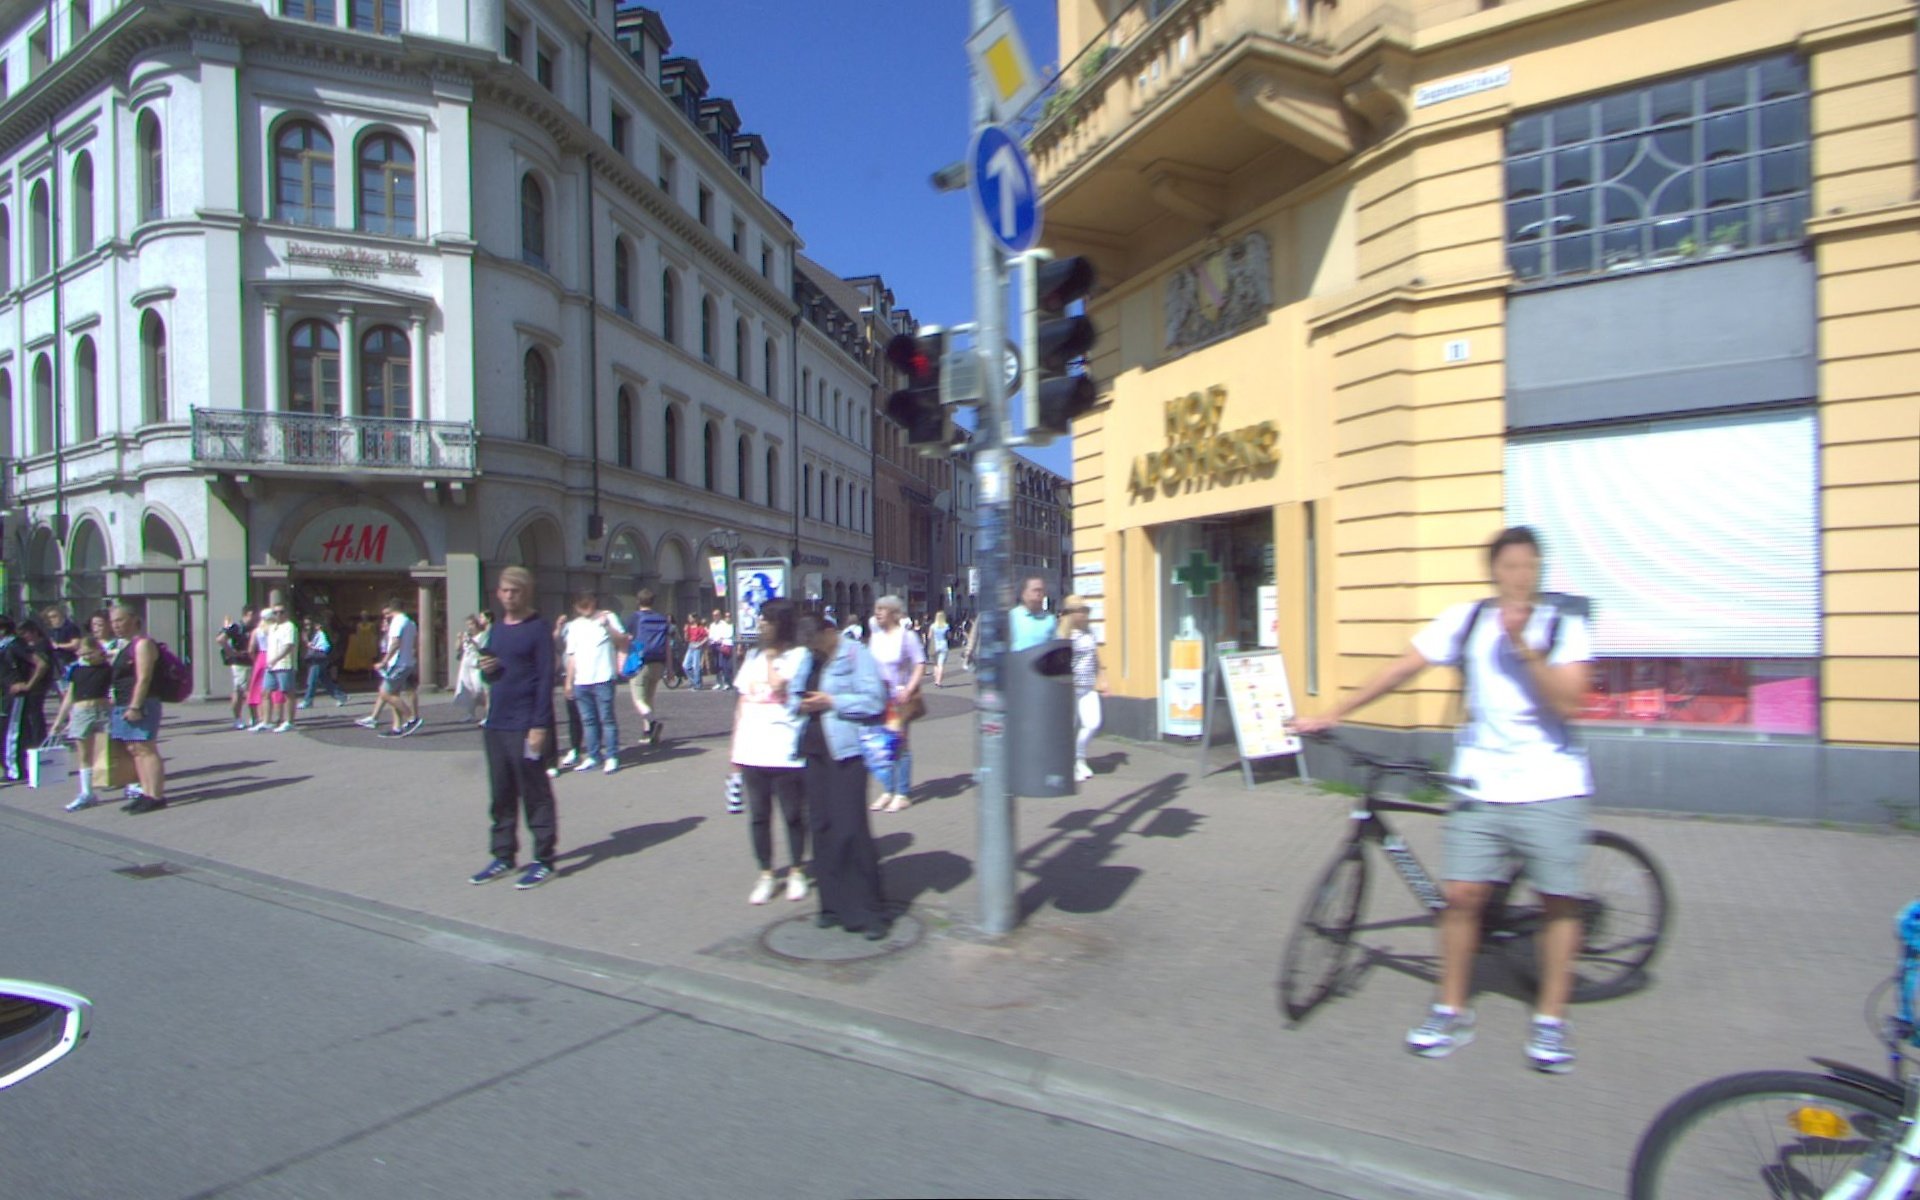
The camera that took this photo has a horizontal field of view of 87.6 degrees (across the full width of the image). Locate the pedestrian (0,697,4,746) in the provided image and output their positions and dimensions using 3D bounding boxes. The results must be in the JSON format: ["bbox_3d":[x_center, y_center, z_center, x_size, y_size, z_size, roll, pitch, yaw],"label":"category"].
[{"bbox_3d":[-12.791,1.053,12.805,0.596,1.696,0.581,-1,3,30],"label":"pedestrian"}]

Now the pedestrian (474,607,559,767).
[{"bbox_3d":[-4.699,0.901,10.616,0.632,1.630,0.521,-1,1,32],"label":"pedestrian"}]

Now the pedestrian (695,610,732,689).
[{"bbox_3d":[-5.552,1.111,22.566,0.664,1.738,0.542,0,-1,2],"label":"pedestrian"}]

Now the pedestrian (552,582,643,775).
[{"bbox_3d":[-3.612,0.761,9.988,0.632,1.848,0.521,-1,1,32],"label":"pedestrian"}]

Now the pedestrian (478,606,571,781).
[{"bbox_3d":[-4.234,0.883,9.746,0.632,1.633,0.521,-1,1,32],"label":"pedestrian"}]

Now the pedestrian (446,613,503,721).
[{"bbox_3d":[-7.635,1.036,15.749,0.668,1.654,0.539,-1,-1,30],"label":"pedestrian"}]

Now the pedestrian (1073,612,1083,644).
[{"bbox_3d":[7.190,1.711,60.911,0.557,1.893,0.659,-1,0,9],"label":"pedestrian"}]

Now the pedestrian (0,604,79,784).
[{"bbox_3d":[-9.760,0.951,10.405,0.668,1.764,0.608,-1,4,30],"label":"pedestrian"}]

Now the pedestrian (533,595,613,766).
[{"bbox_3d":[-4.058,0.824,10.506,0.528,1.725,0.521,-1,1,32],"label":"pedestrian"}]

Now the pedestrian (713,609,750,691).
[{"bbox_3d":[-5.069,1.098,22.278,0.664,1.793,0.542,0,-1,2],"label":"pedestrian"}]

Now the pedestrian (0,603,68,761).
[{"bbox_3d":[-11.317,0.971,12.110,0.668,1.847,0.609,-1,-1,30],"label":"pedestrian"}]

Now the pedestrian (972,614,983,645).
[{"bbox_3d":[1.088,1.796,61.063,0.557,1.893,0.659,-1,0,9],"label":"pedestrian"}]

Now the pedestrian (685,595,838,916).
[{"bbox_3d":[-1.097,0.812,5.559,0.581,1.652,0.547,-1,1,35],"label":"pedestrian"}]

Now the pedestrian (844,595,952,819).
[{"bbox_3d":[-0.480,0.799,7.797,0.581,1.661,0.547,-1,1,35],"label":"pedestrian"}]

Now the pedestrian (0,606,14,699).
[{"bbox_3d":[-19.093,1.040,19.612,0.603,1.815,0.674,-1,-1,32],"label":"pedestrian"}]

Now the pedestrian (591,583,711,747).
[{"bbox_3d":[-3.603,0.754,11.673,1.216,1.813,0.656,-3,-2,32],"label":"pedestrian"}]

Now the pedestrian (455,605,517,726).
[{"bbox_3d":[-6.964,0.951,14.716,0.667,1.738,0.540,-1,-1,28],"label":"pedestrian"}]

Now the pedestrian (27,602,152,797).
[{"bbox_3d":[-8.458,0.941,9.738,0.668,1.784,0.608,-1,4,30],"label":"pedestrian"}]

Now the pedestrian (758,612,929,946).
[{"bbox_3d":[-0.584,0.845,5.046,0.633,1.541,0.521,-1,1,35],"label":"pedestrian"}]

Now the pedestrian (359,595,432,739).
[{"bbox_3d":[-7.633,0.891,13.542,0.534,1.879,0.674,-1,-1,30],"label":"pedestrian"}]

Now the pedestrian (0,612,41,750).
[{"bbox_3d":[-12.178,1.026,12.653,0.596,1.696,0.581,-1,3,30],"label":"pedestrian"}]

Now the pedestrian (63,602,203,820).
[{"bbox_3d":[-7.217,0.933,8.750,0.668,1.793,0.670,-1,2,30],"label":"pedestrian"}]

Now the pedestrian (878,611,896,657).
[{"bbox_3d":[-3.022,1.406,41.499,0.615,1.893,0.659,-1,0,9],"label":"pedestrian"}]

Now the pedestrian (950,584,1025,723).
[{"bbox_3d":[0.386,0.723,13.758,0.783,1.848,0.618,-1,1,32],"label":"pedestrian"}]

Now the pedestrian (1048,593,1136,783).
[{"bbox_3d":[1.146,0.745,8.764,0.578,1.590,0.550,-2,0,-12],"label":"pedestrian"}]

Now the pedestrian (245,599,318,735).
[{"bbox_3d":[-9.490,0.922,14.004,0.668,1.830,0.609,-1,-1,30],"label":"pedestrian"}]

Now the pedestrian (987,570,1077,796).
[{"bbox_3d":[0.598,0.680,8.471,0.578,1.825,0.550,-2,0,-12],"label":"pedestrian"}]

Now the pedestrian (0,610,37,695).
[{"bbox_3d":[-20.520,1.123,21.701,0.603,1.815,0.627,-1,-1,32],"label":"pedestrian"}]

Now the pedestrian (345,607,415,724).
[{"bbox_3d":[-8.396,0.930,14.502,0.667,1.640,0.609,1,1,30],"label":"pedestrian"}]

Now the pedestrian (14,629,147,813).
[{"bbox_3d":[-7.877,1.054,8.978,0.668,1.536,0.608,-1,4,30],"label":"pedestrian"}]

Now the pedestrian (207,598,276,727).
[{"bbox_3d":[-10.674,0.915,14.875,0.668,1.847,0.609,-1,-1,30],"label":"pedestrian"}]

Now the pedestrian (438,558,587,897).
[{"bbox_3d":[-2.709,0.732,6.070,0.633,1.923,0.521,-1,1,35],"label":"pedestrian"}]
